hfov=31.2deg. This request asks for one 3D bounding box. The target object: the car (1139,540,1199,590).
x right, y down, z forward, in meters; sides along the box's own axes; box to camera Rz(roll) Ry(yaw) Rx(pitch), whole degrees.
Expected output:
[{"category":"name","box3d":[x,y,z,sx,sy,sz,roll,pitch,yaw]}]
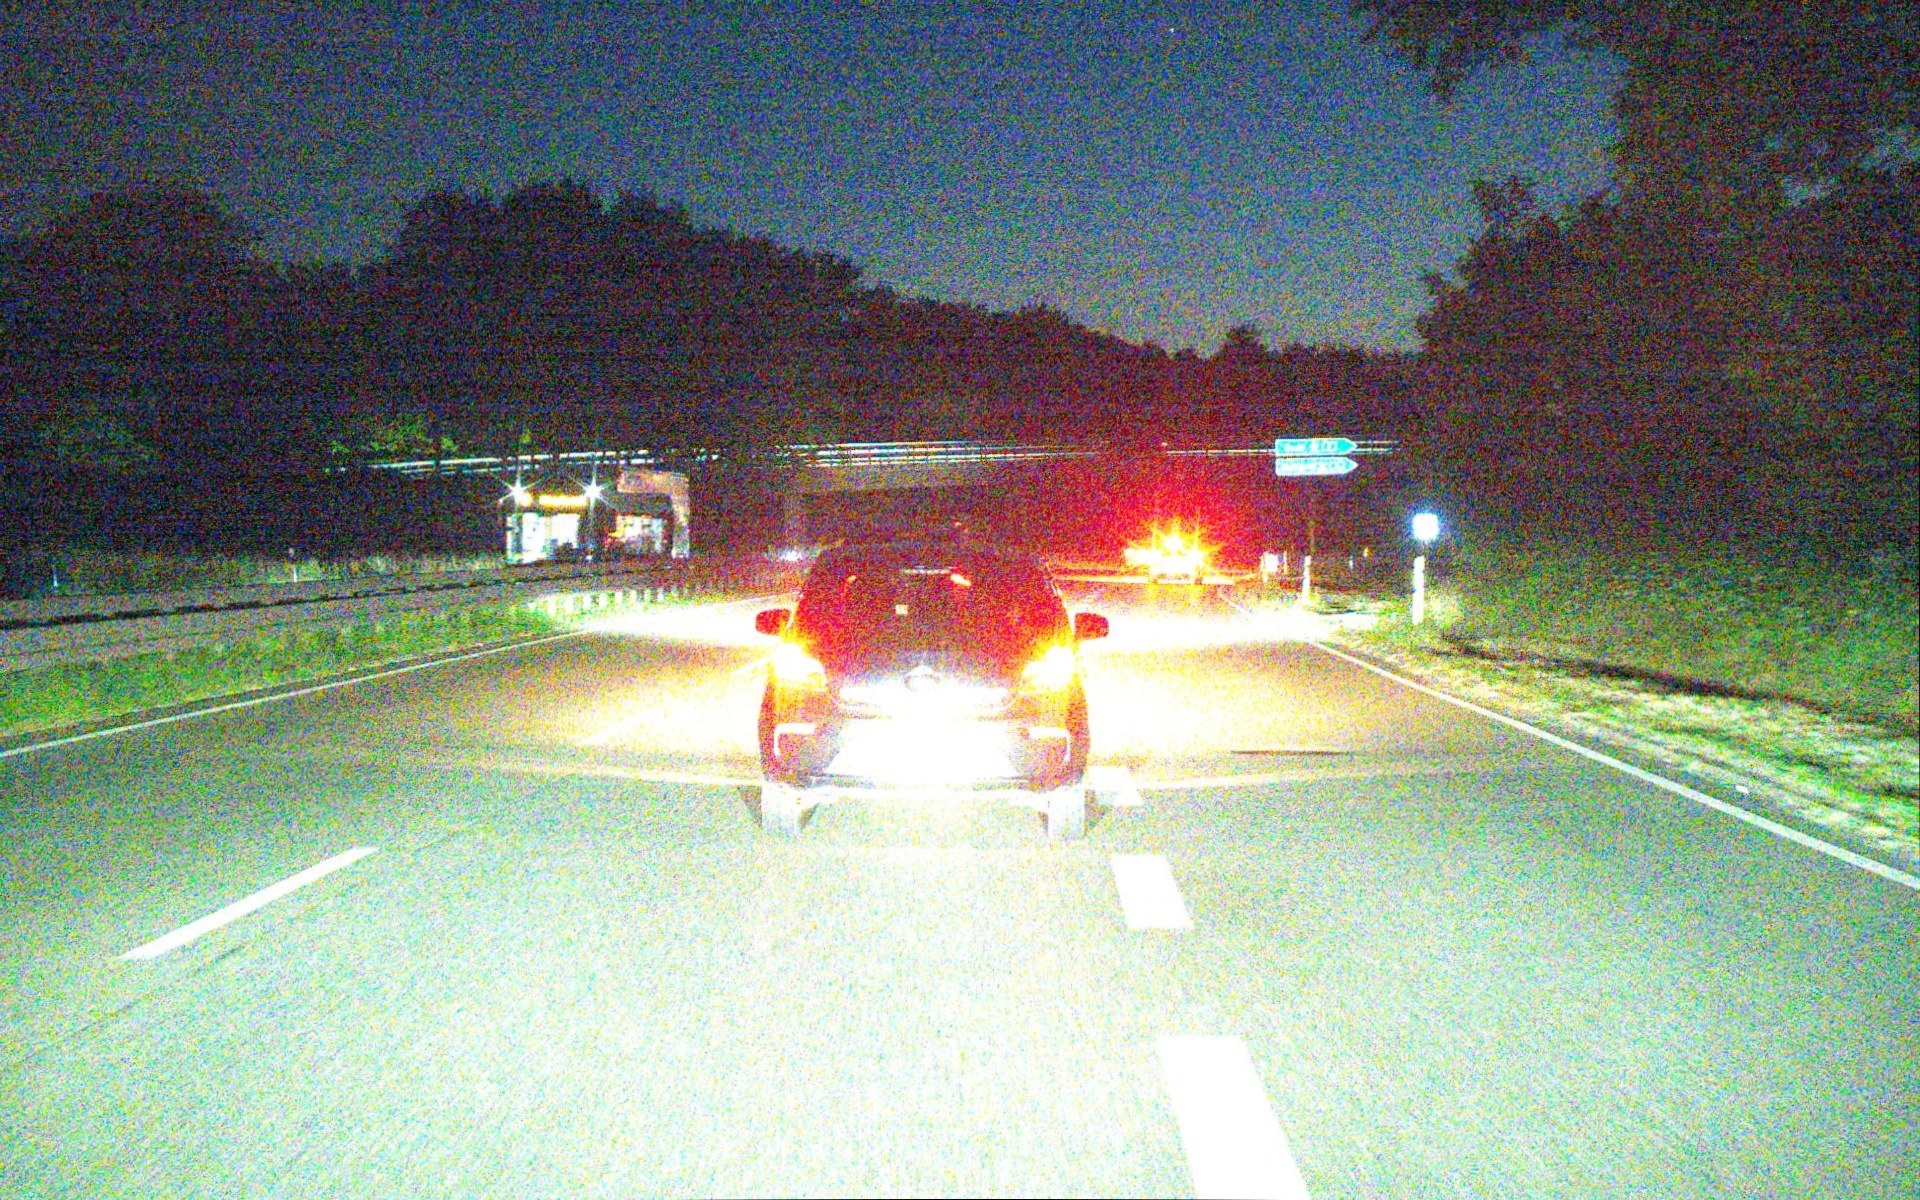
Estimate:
[{"category":"car","box3d":[6.872,-1.173,113.413,1.733,1.612,3.798,0,1,0]}]

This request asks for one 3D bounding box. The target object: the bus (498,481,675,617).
[{"category":"bus","box3d":[-9.808,-1.457,91.816,2.923,3.376,12.307,0,2,2]}]

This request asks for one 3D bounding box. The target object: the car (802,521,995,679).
[{"category":"car","box3d":[-0.617,-0.053,37.851,1.940,1.603,4.643,1,1,1]}]

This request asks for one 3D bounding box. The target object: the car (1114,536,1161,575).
[{"category":"car","box3d":[8.011,-2.007,155.560,1.951,1.533,4.241,-4,-1,2]}]

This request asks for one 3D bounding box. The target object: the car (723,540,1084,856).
[{"category":"car","box3d":[-0.217,0.428,18.230,1.691,1.473,4.000,1,1,2]}]

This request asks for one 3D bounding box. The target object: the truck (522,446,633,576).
[{"category":"truck","box3d":[-12.463,-2.905,112.465,2.676,4.163,5.868,0,1,3]}]
